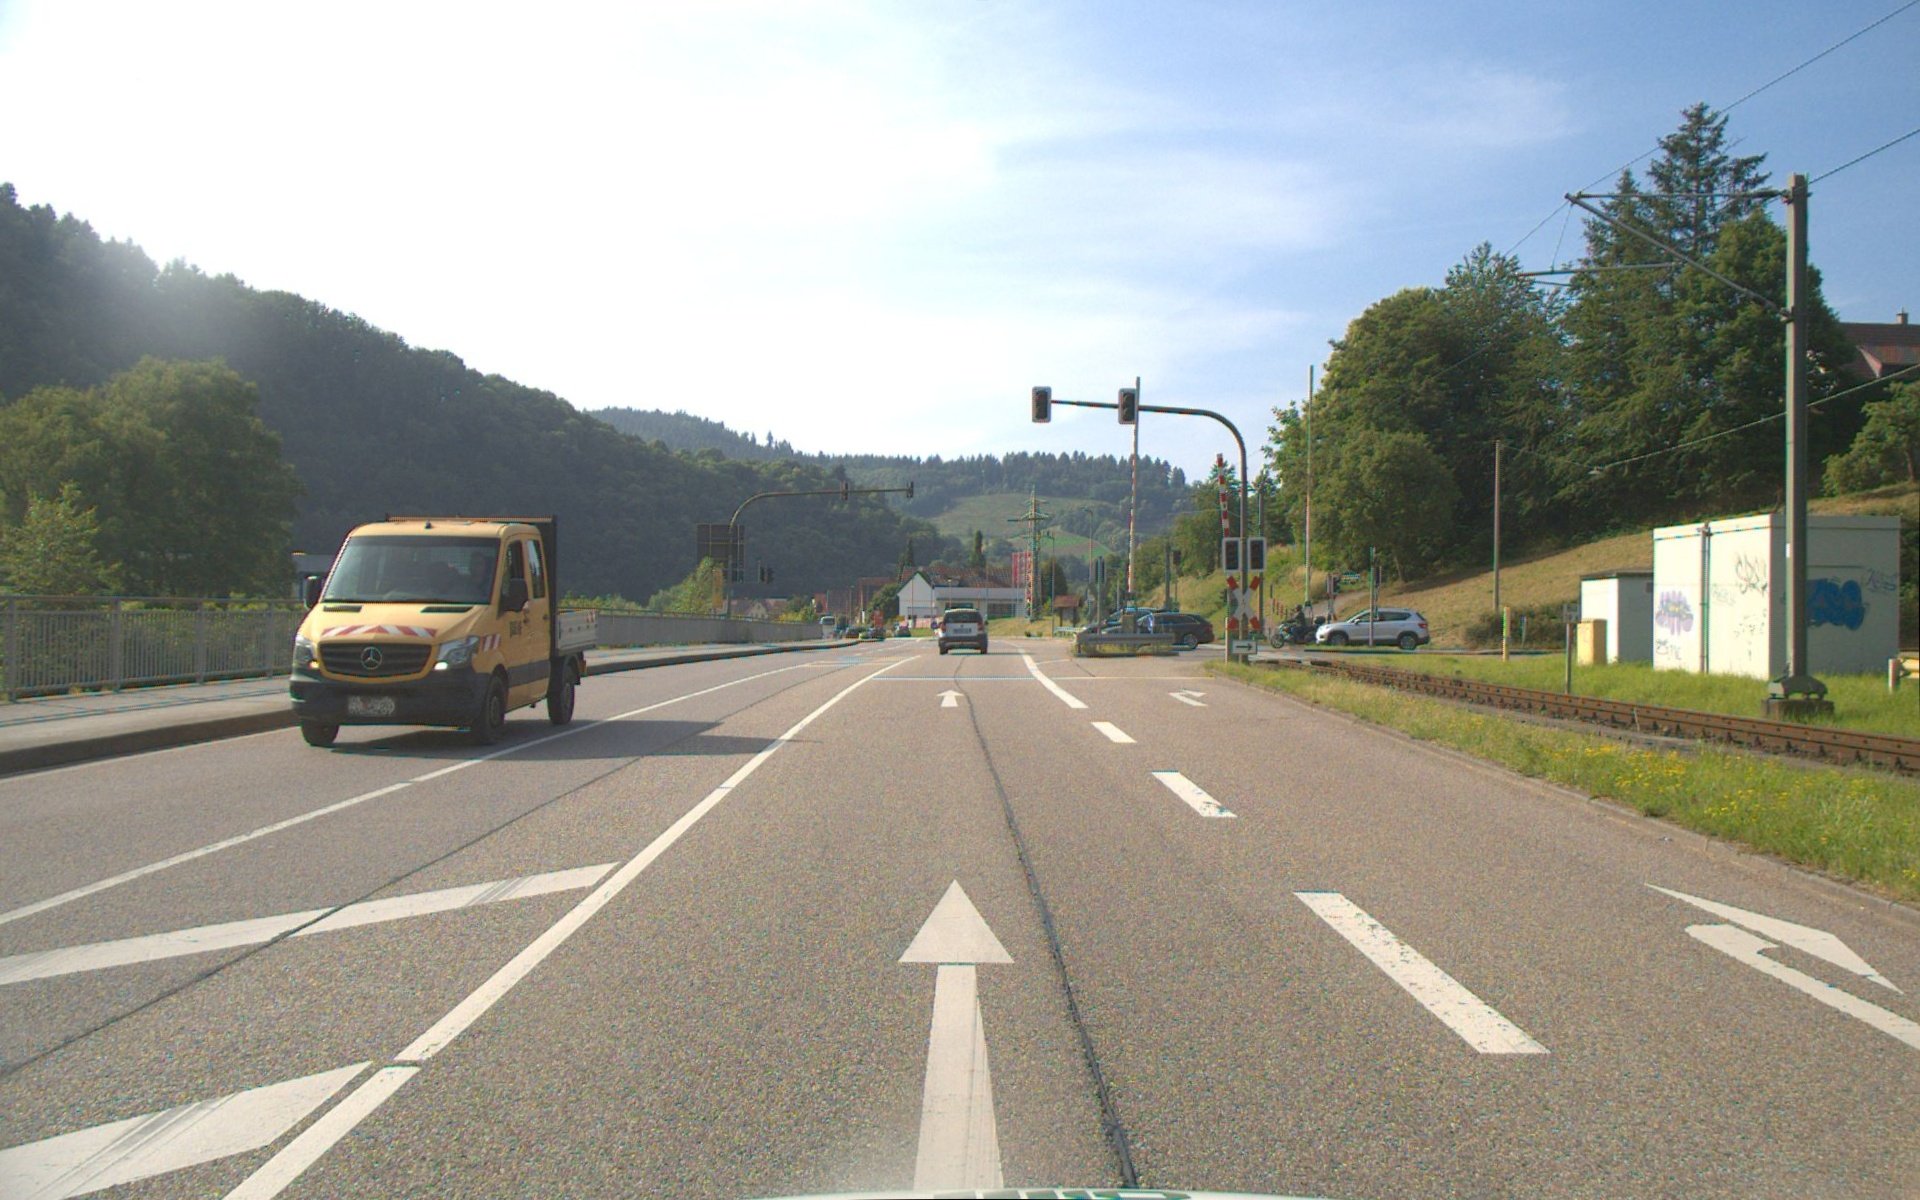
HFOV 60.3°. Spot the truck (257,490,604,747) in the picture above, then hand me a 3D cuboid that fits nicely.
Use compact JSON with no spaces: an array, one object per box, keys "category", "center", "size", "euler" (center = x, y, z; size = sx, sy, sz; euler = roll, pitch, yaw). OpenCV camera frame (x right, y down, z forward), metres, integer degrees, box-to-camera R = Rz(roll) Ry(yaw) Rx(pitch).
[{"category":"truck","center":[-5.712,0.195,18.811],"size":[2.120,2.429,5.853],"euler":[1,0,-1]}]

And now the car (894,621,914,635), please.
[{"category":"car","center":[-6.142,3.059,182.554],"size":[1.431,1.460,2.920],"euler":[1,0,-18]}]

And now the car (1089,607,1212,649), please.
[{"category":"car","center":[7.363,1.082,64.260],"size":[4.627,1.496,1.842],"euler":[-1,-1,3]}]

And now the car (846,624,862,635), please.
[{"category":"car","center":[-13.895,3.852,216.647],"size":[1.431,1.460,2.920],"euler":[1,0,-18]}]

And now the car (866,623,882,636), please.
[{"category":"car","center":[-10.258,3.520,197.910],"size":[1.214,1.460,2.627],"euler":[-1,0,-18]}]

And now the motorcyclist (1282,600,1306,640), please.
[{"category":"motorcyclist","center":[13.649,0.803,67.551],"size":[0.887,1.625,0.766],"euler":[1,-1,18]}]

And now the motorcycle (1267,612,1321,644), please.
[{"category":"motorcycle","center":[13.654,1.148,67.548],"size":[2.049,1.276,0.799],"euler":[1,-1,19]}]

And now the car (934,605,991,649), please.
[{"category":"car","center":[0.128,1.028,61.644],"size":[1.822,1.571,4.375],"euler":[1,-2,4]}]

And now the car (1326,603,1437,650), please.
[{"category":"car","center":[16.116,0.996,63.353],"size":[4.025,1.716,1.836],"euler":[1,-1,14]}]
